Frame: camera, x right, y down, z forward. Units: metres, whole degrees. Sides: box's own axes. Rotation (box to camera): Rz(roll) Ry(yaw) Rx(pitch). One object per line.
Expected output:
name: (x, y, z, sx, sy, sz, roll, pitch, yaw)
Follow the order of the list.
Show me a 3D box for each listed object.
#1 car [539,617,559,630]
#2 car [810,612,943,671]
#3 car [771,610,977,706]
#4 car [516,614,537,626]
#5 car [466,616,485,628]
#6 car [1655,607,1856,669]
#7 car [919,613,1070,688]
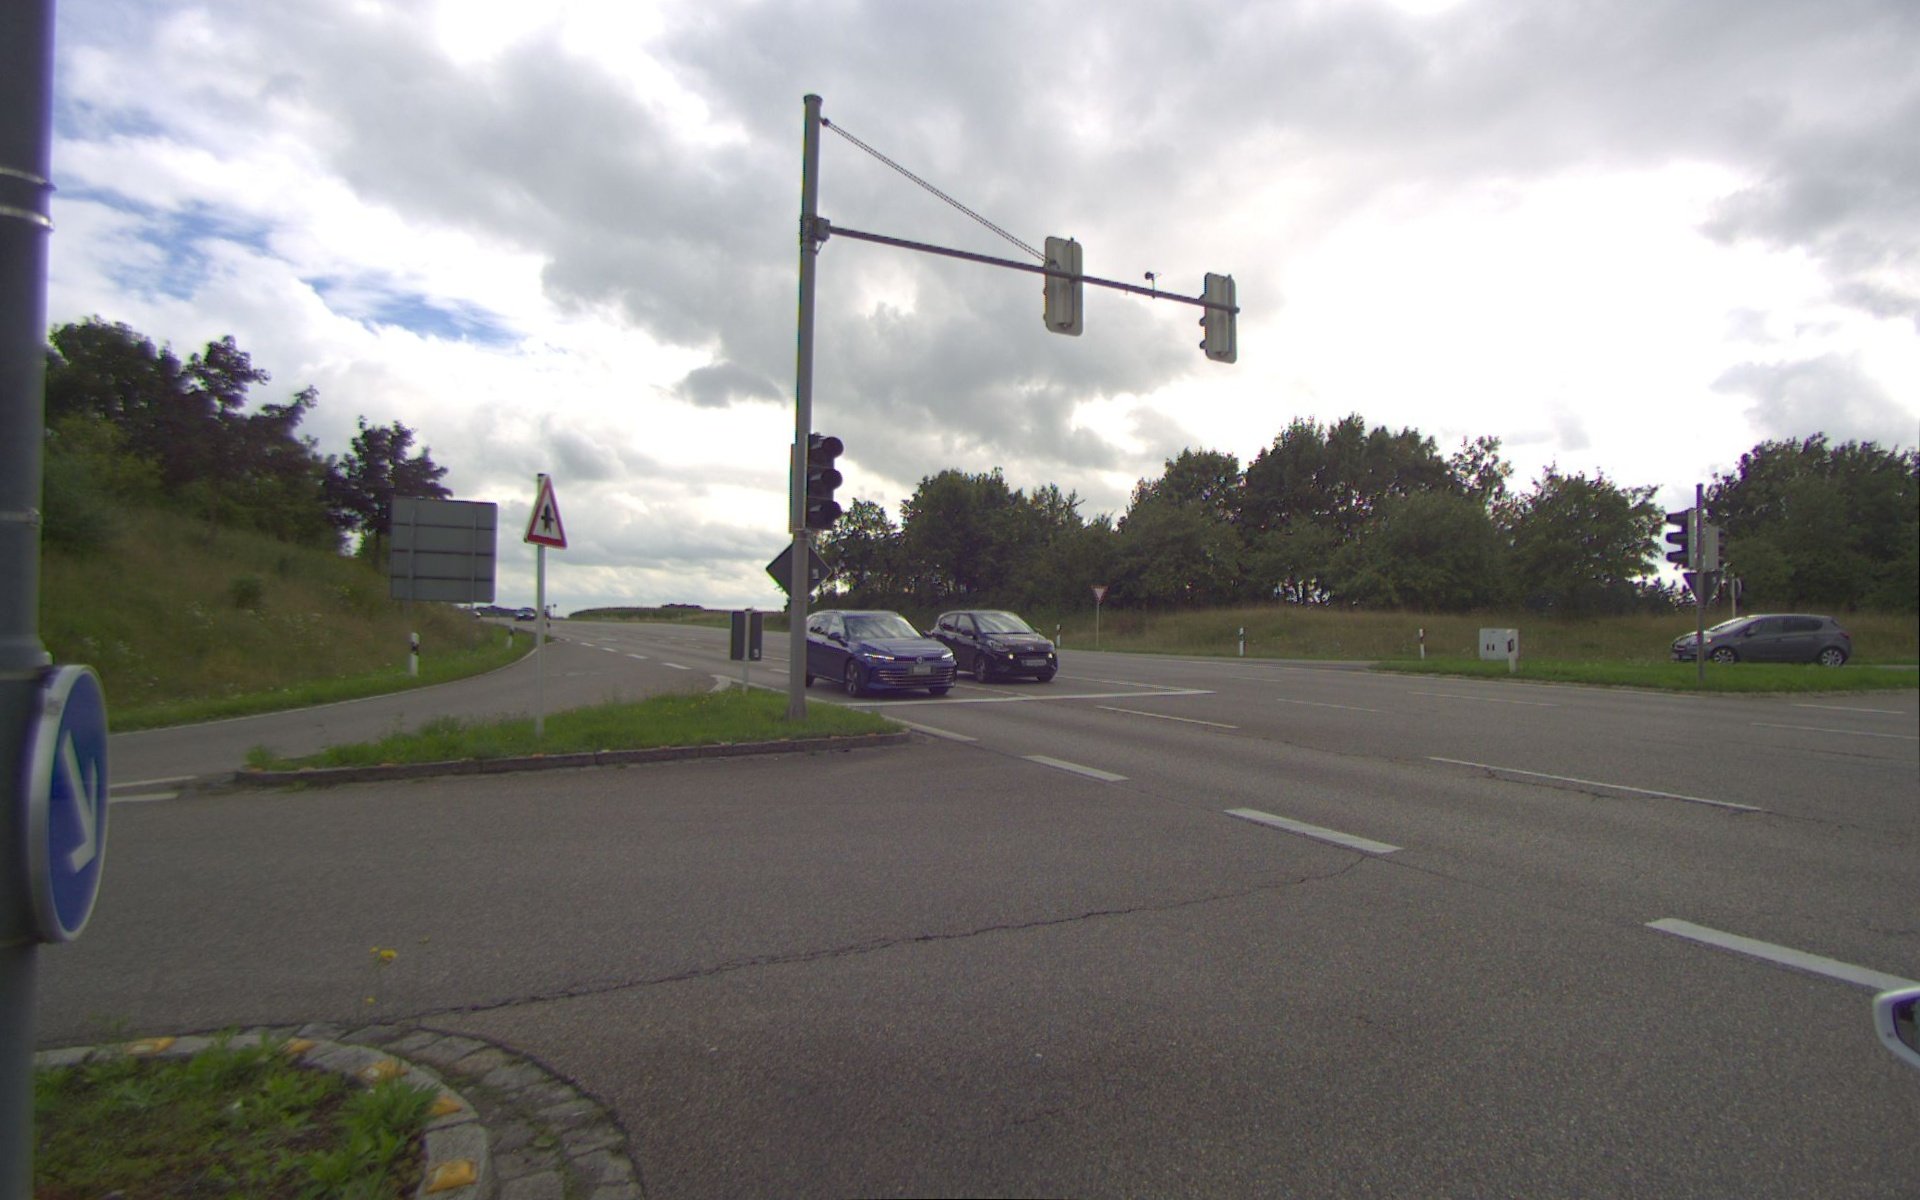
car: (-56.806, 3.196, 138.825, 1.829, 1.712, 3.965, 2, -2, -32)
car: (-2.480, 1.099, 28.458, 2.029, 1.503, 4.846, 0, 0, -28)
car: (-1.804, 0.974, 19.012, 2.027, 1.555, 5.088, 1, -1, -29)
car: (-50.626, 2.305, 117.238, 1.749, 1.401, 4.509, 1, -1, -29)
car: (-64.067, 2.864, 132.830, 1.976, 1.514, 4.953, 1, -1, -30)
car: (22.102, 1.034, 28.093, 3.919, 1.555, 2.001, 1, -1, 14)
car: (0.653, 1.027, 22.059, 1.709, 1.462, 3.918, 0, -1, -26)
